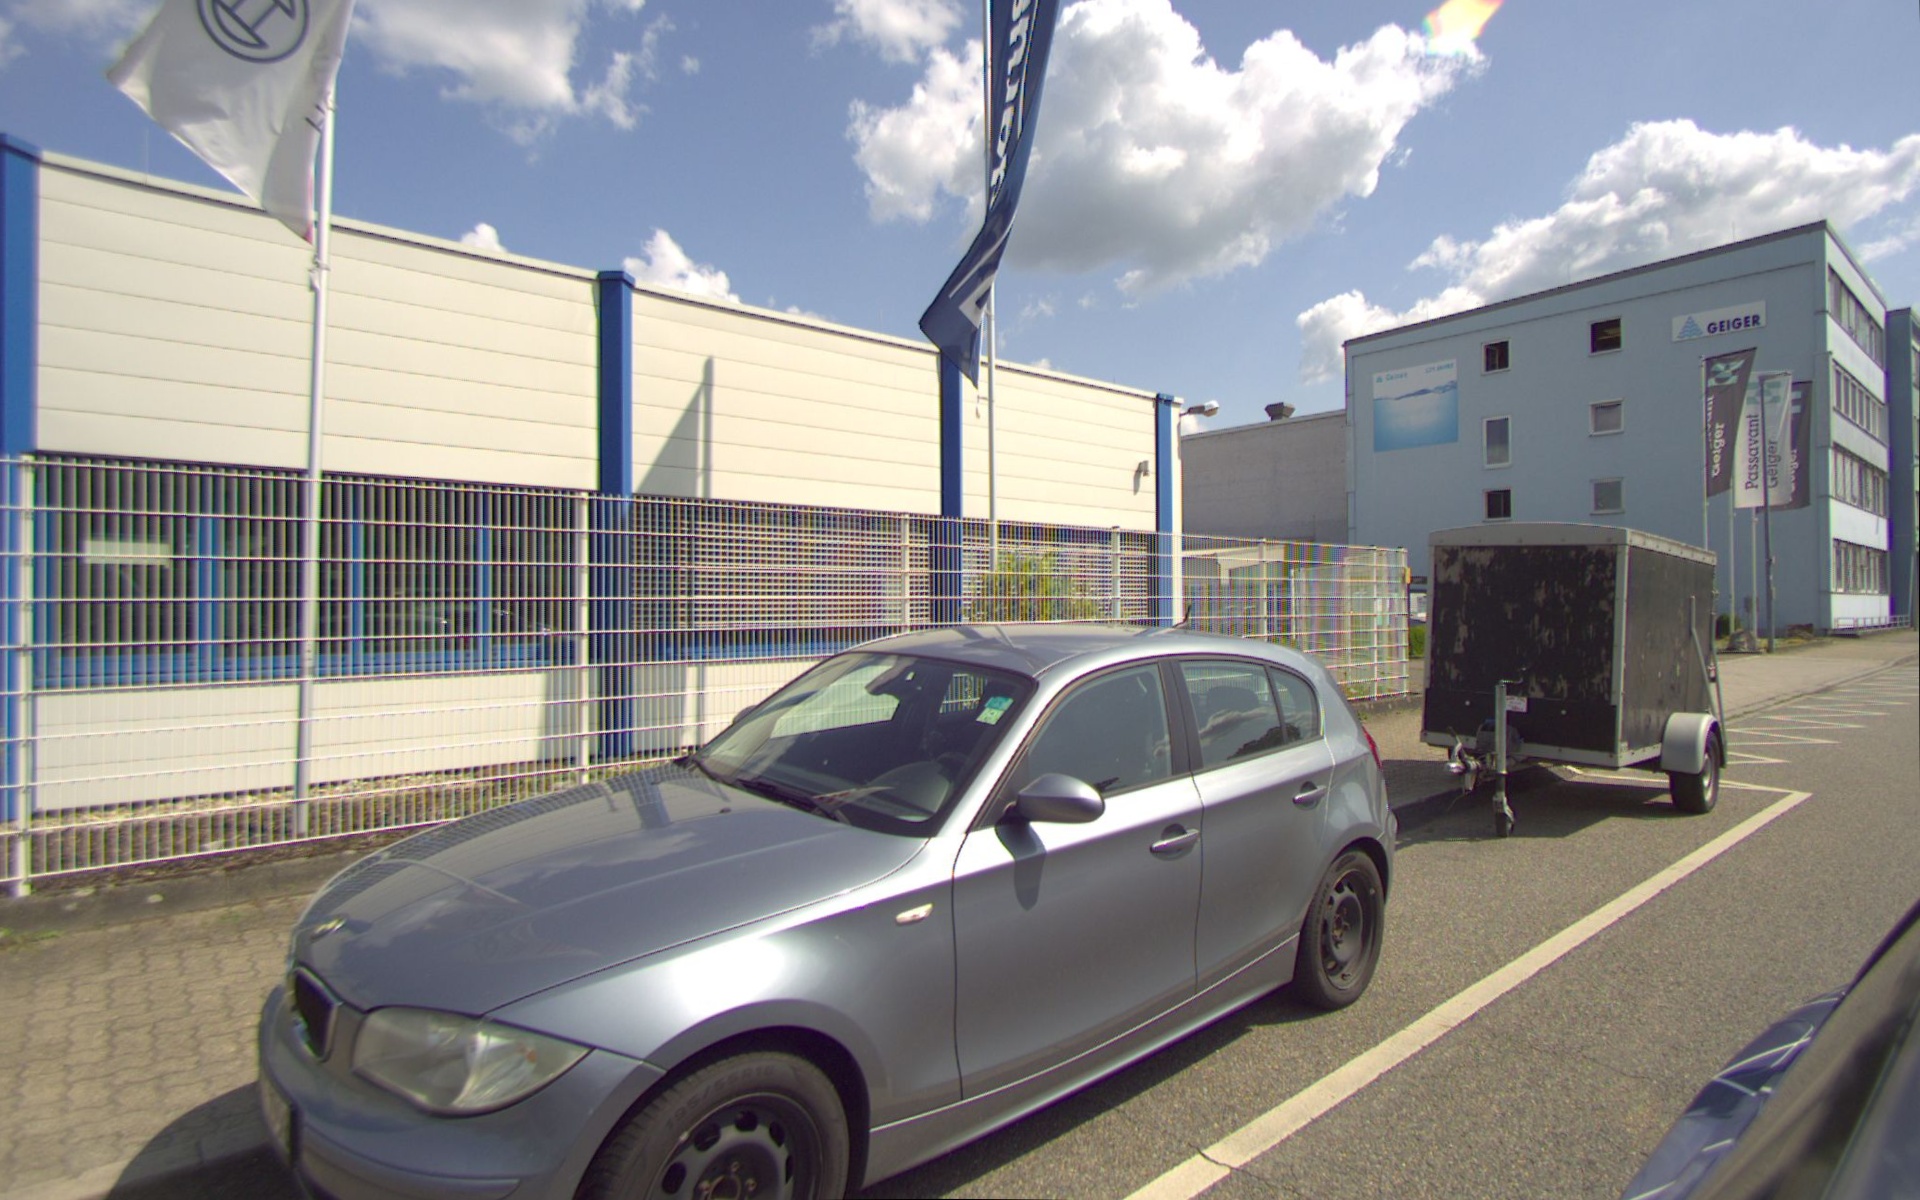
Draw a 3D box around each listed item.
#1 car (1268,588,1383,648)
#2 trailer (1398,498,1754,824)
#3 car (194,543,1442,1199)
[{"bbox_3d":[12.426,0.592,34.295,4.071,1.894,1.995,0,-1,-43],"label":"car"},{"bbox_3d":[4.857,0.392,7.910,2.693,2.063,1.604,0,-1,-41],"label":"trailer"},{"bbox_3d":[-0.027,0.713,3.489,4.060,1.527,1.575,1,-1,-41],"label":"car"}]
